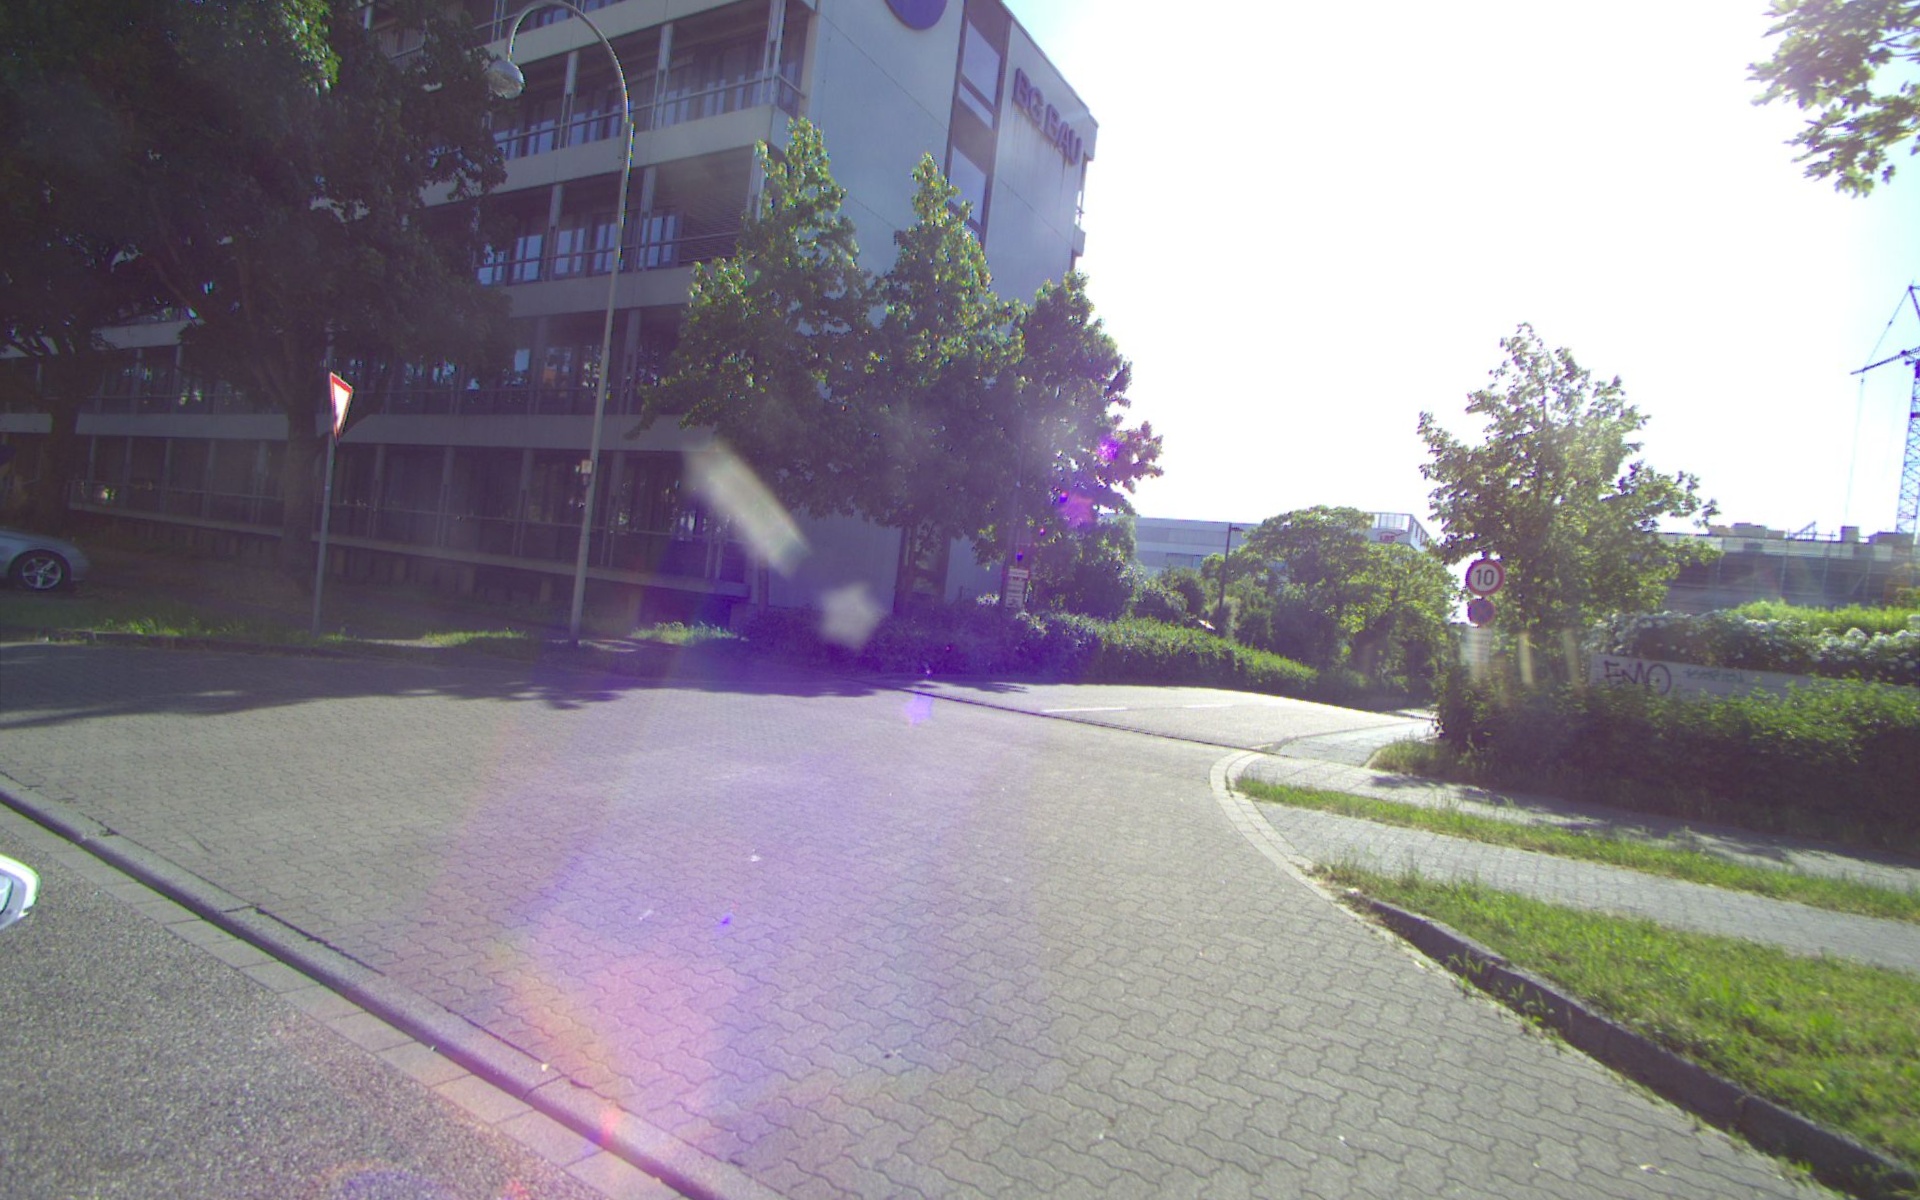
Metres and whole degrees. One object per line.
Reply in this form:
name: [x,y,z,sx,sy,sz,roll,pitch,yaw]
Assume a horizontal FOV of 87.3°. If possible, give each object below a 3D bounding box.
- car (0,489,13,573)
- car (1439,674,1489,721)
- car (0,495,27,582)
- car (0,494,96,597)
car: [-20.035,-1.488,17.746,1.892,1.562,4.514,6,1,35]
car: [26.058,4.994,51.970,1.893,2.135,3.993,6,0,30]
car: [-18.055,-1.219,16.397,1.892,1.465,3.836,6,1,35]
car: [-15.800,-0.974,14.619,1.718,1.494,4.580,6,1,32]
